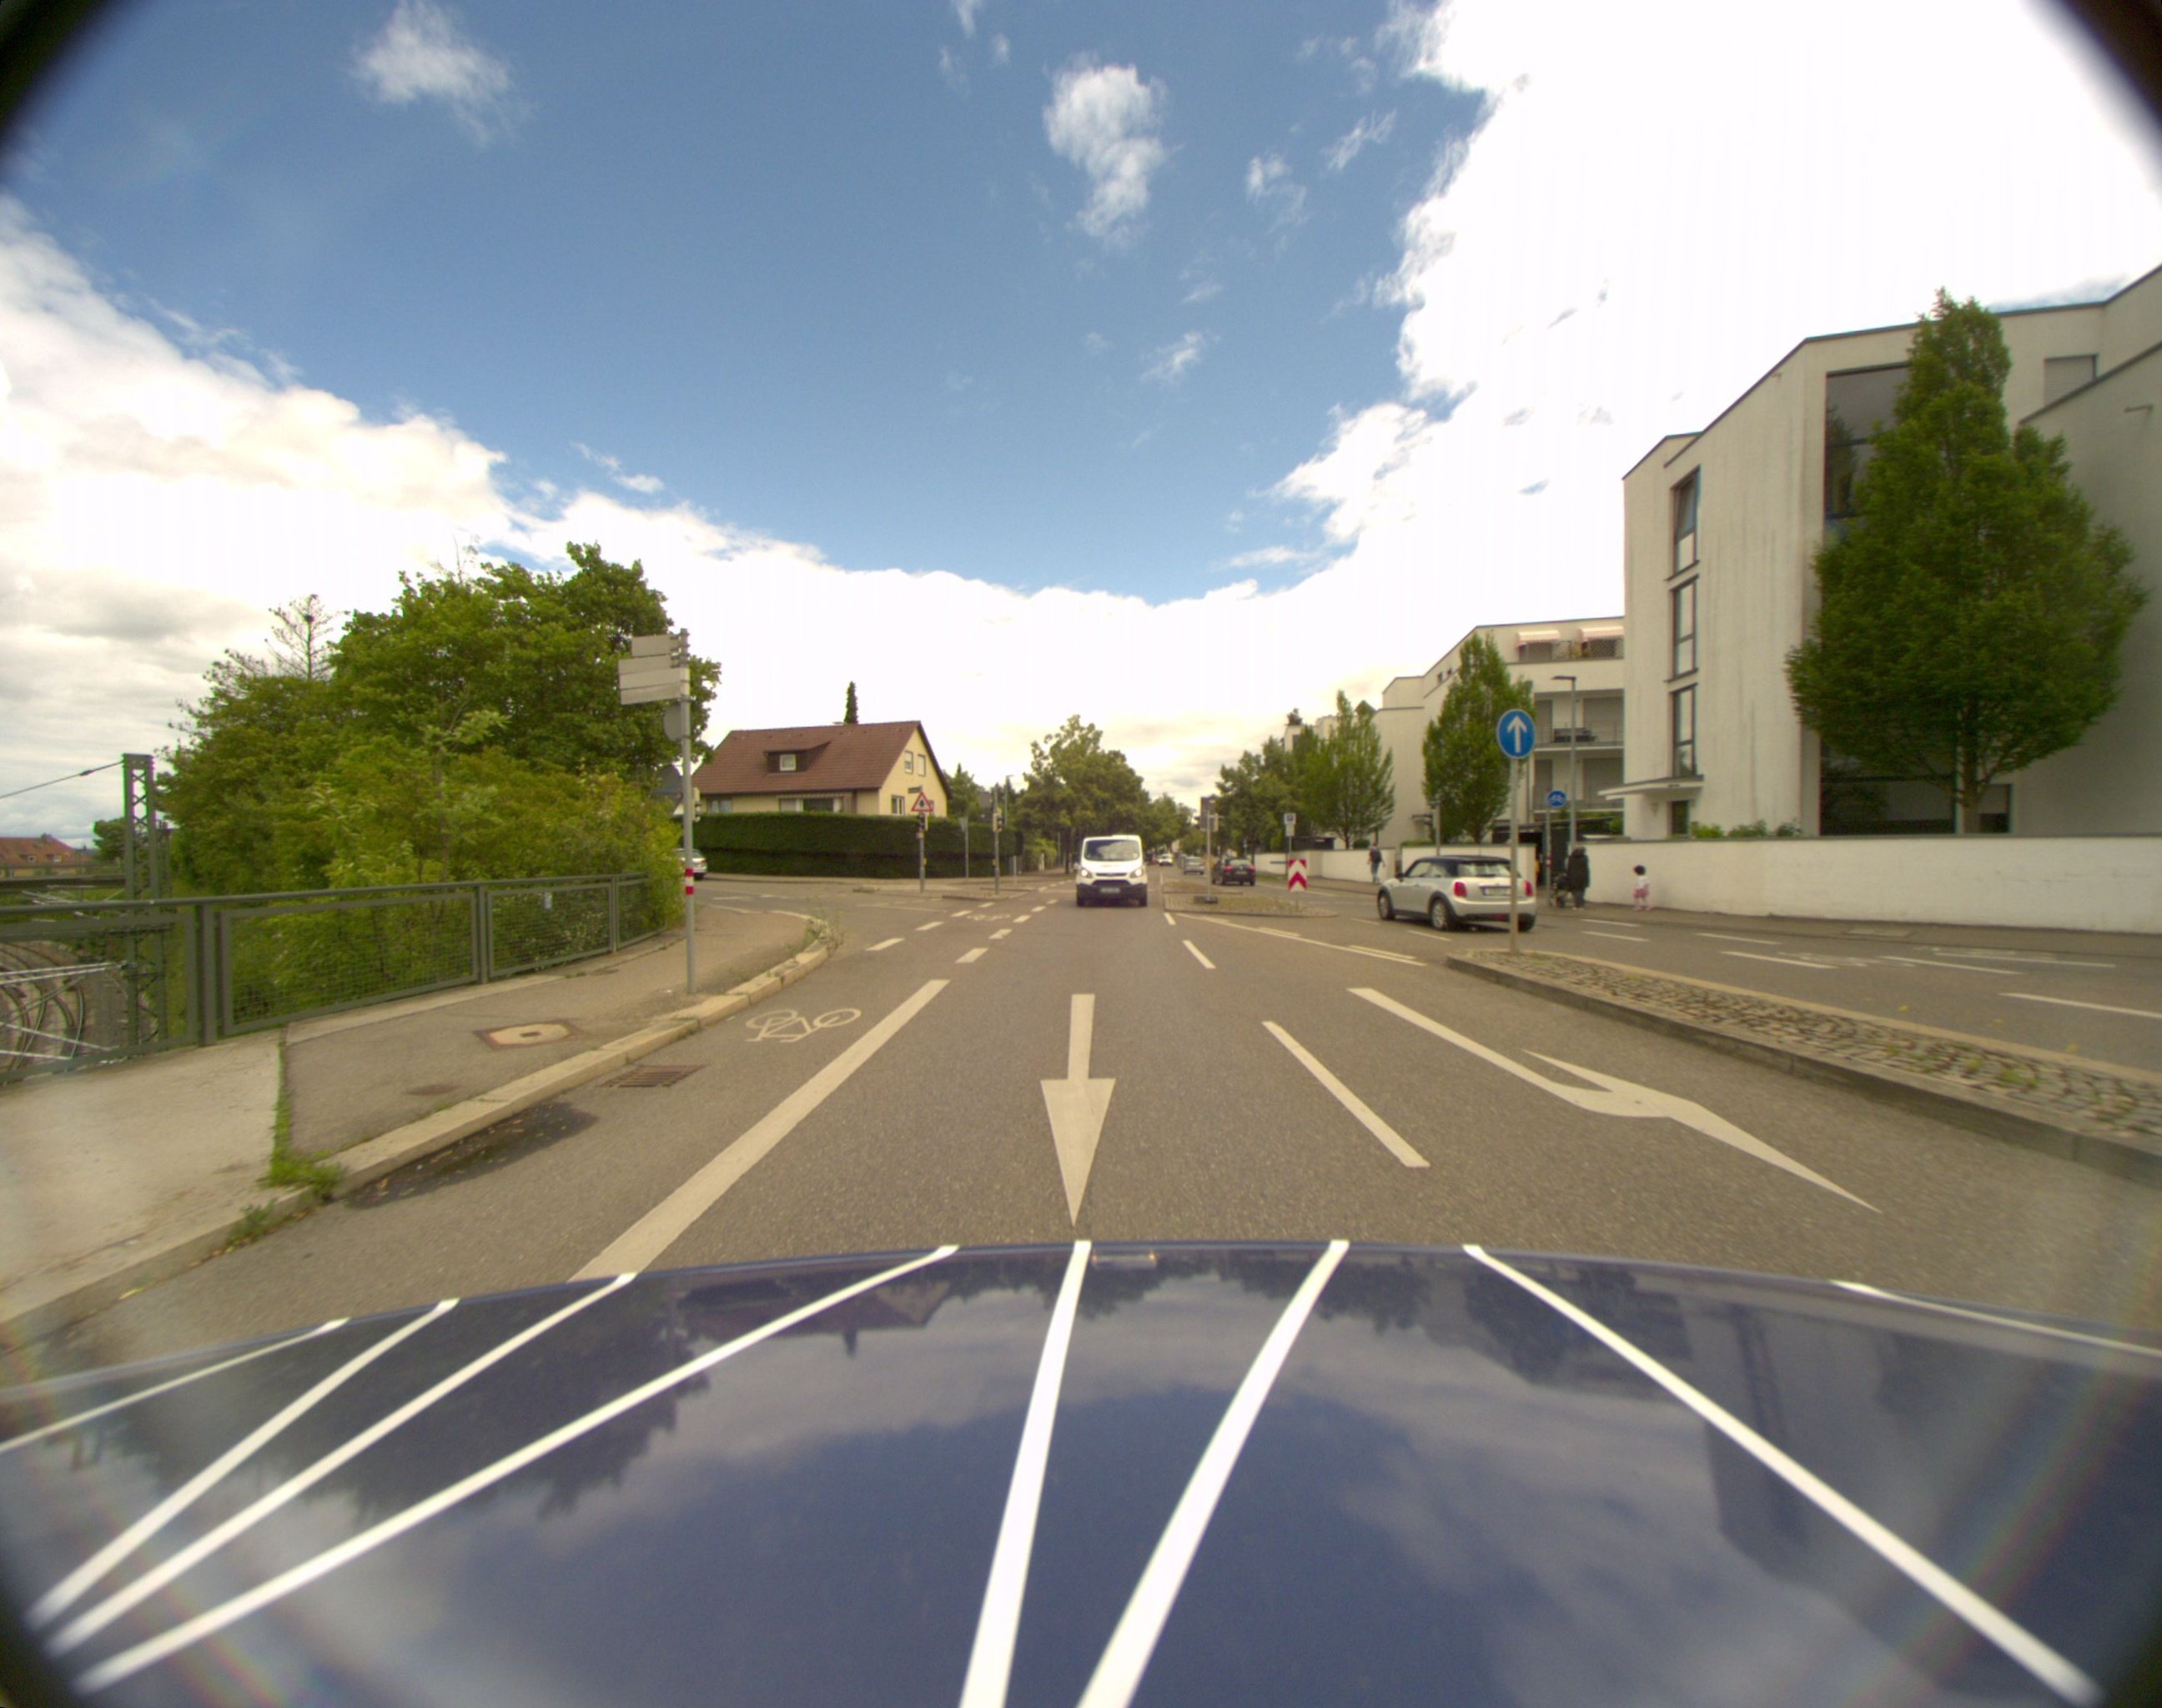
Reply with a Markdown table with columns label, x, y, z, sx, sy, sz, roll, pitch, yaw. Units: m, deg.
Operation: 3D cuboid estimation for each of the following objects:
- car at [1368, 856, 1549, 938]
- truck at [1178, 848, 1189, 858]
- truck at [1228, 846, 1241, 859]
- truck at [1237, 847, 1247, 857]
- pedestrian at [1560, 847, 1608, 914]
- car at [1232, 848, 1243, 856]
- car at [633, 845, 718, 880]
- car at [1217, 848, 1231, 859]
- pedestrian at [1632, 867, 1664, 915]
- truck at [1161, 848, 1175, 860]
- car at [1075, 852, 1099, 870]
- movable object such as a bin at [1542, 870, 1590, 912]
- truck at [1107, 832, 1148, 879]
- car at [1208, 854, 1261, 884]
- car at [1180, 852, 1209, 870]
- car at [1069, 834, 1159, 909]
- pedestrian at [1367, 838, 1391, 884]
| label | x | y | z | sx | sy | sz | roll | pitch | yaw |
| --- | --- | --- | --- | --- | --- | --- | --- | --- | --- |
| car | 7.392 | 0.758 | 15.327 | 1.647 | 1.401 | 3.818 | 0 | 1 | -2 |
| truck | 18.498 | -0.215 | 136.931 | 1.617 | 1.649 | 4.003 | 1 | 0 | 11 |
| truck | 34.313 | -0.383 | 169.865 | 2.639 | 2.757 | 6.262 | 0 | 1 | 12 |
| truck | 43.234 | -0.557 | 204.189 | 1.997 | 2.530 | 4.501 | 0 | 1 | 6 |
| pedestrian | 12.130 | 0.621 | 18.342 | 0.532 | 1.534 | 0.732 | -5 | 1 | -1 |
| car | 29.697 | -0.364 | 144.267 | 1.887 | 1.606 | 4.004 | 0 | 0 | 14 |
| car | -18.326 | 0.360 | 34.289 | 3.911 | 1.435 | 1.717 | 2 | 0 | 35 |
| car | 22.240 | -0.035 | 117.937 | 1.915 | 1.643 | 4.004 | 0 | 0 | 14 |
| pedestrian | 12.936 | 0.830 | 17.351 | 0.326 | 1.056 | 0.444 | -5 | 1 | 0 |
| truck | 12.953 | -0.033 | 113.082 | 1.613 | 1.780 | 4.003 | 1 | 0 | 11 |
| car | 0.539 | 0.569 | 61.893 | 1.561 | 1.343 | 3.542 | 1 | 0 | 6 |
| movable object such as a bin | 12.153 | 0.914 | 19.059 | 0.498 | 0.954 | 0.986 | -5 | 1 | -1 |
| truck | 2.767 | 0.068 | 44.179 | 2.035 | 2.555 | 6.060 | 1 | 0 | 7 |
| car | 7.619 | 0.709 | 37.992 | 1.725 | 1.383 | 3.917 | 1 | 1 | -1 |
| car | 9.534 | 0.582 | 63.848 | 1.803 | 1.435 | 3.948 | 0 | 1 | -1 |
| car | 1.148 | 0.454 | 22.666 | 2.074 | 1.956 | 5.561 | -1 | 0 | 9 |
| pedestrian | 13.144 | 0.300 | 33.543 | 0.650 | 1.937 | 0.872 | -3 | 1 | 2 |
